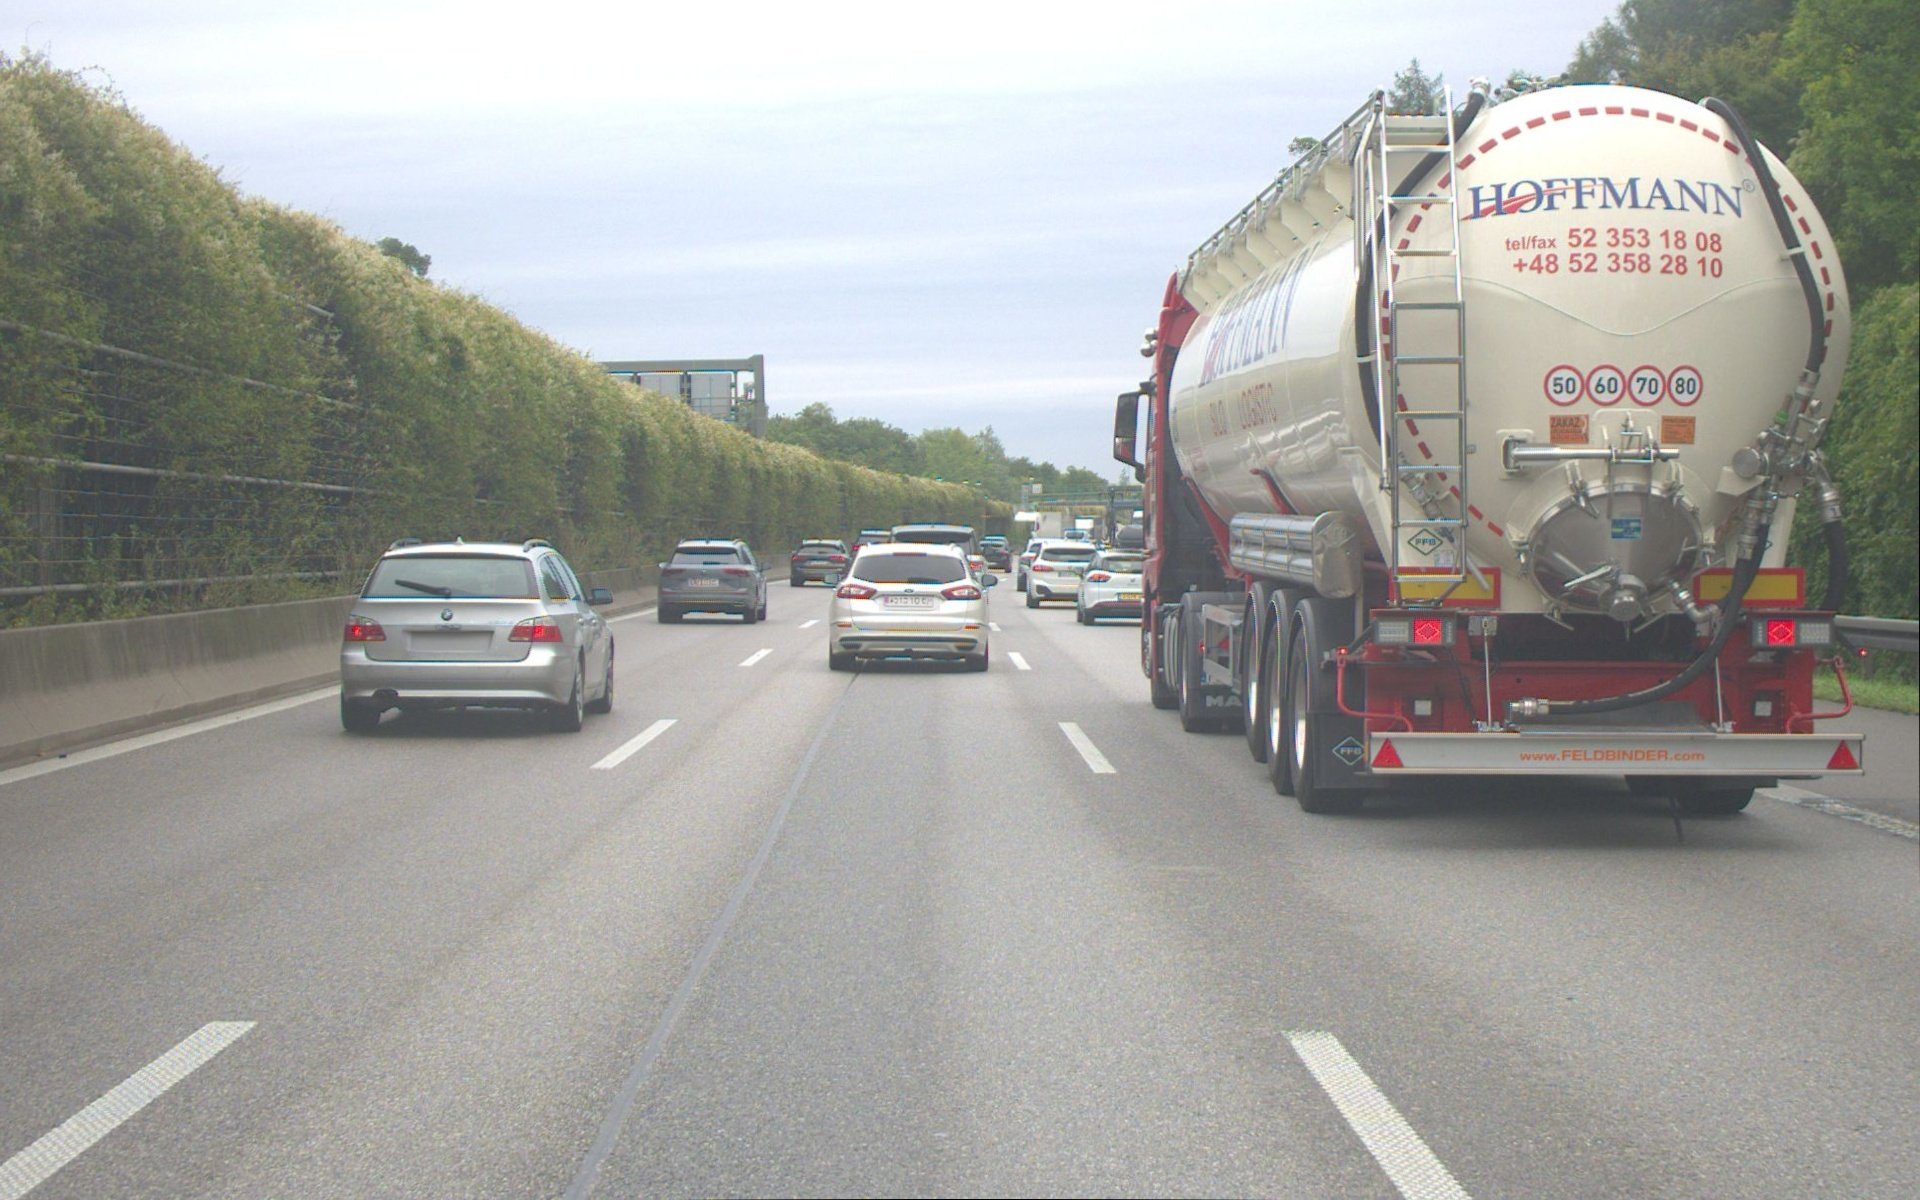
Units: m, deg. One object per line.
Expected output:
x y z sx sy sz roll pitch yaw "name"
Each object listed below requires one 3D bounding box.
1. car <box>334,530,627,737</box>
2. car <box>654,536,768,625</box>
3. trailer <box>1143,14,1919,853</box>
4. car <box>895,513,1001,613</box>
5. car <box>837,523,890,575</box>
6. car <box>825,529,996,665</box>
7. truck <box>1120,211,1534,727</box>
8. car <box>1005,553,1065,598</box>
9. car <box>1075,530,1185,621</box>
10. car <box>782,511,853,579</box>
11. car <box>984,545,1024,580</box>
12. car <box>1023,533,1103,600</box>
-3.788 0.196 27.913 1.720 1.464 5.031 1 2 -1 "car"
-4.408 -0.380 61.532 1.720 1.507 5.030 1 1 -1 "car"
3.058 -0.866 22.810 2.668 3.925 13.131 1 1 -1 "trailer"
-0.205 -0.671 60.120 1.689 1.501 3.872 4 2 0 "car"
-3.780 -2.018 135.221 1.993 2.007 4.000 0 1 0 "car"
-0.589 -0.080 40.770 1.891 1.499 5.030 1 1 -1 "car"
2.952 -1.040 29.494 2.695 3.899 6.557 1 1 -1 "truck"
2.287 -0.756 105.417 1.689 1.326 3.871 1 1 -1 "car"
3.139 -0.482 64.376 1.816 1.620 5.030 1 1 0 "car"
-4.310 -1.685 104.447 1.993 2.007 3.841 0 1 0 "car"
1.987 -1.720 155.890 1.689 1.534 3.872 1 1 -1 "car"
2.374 -0.779 79.938 1.689 1.501 3.871 1 1 -1 "car"
